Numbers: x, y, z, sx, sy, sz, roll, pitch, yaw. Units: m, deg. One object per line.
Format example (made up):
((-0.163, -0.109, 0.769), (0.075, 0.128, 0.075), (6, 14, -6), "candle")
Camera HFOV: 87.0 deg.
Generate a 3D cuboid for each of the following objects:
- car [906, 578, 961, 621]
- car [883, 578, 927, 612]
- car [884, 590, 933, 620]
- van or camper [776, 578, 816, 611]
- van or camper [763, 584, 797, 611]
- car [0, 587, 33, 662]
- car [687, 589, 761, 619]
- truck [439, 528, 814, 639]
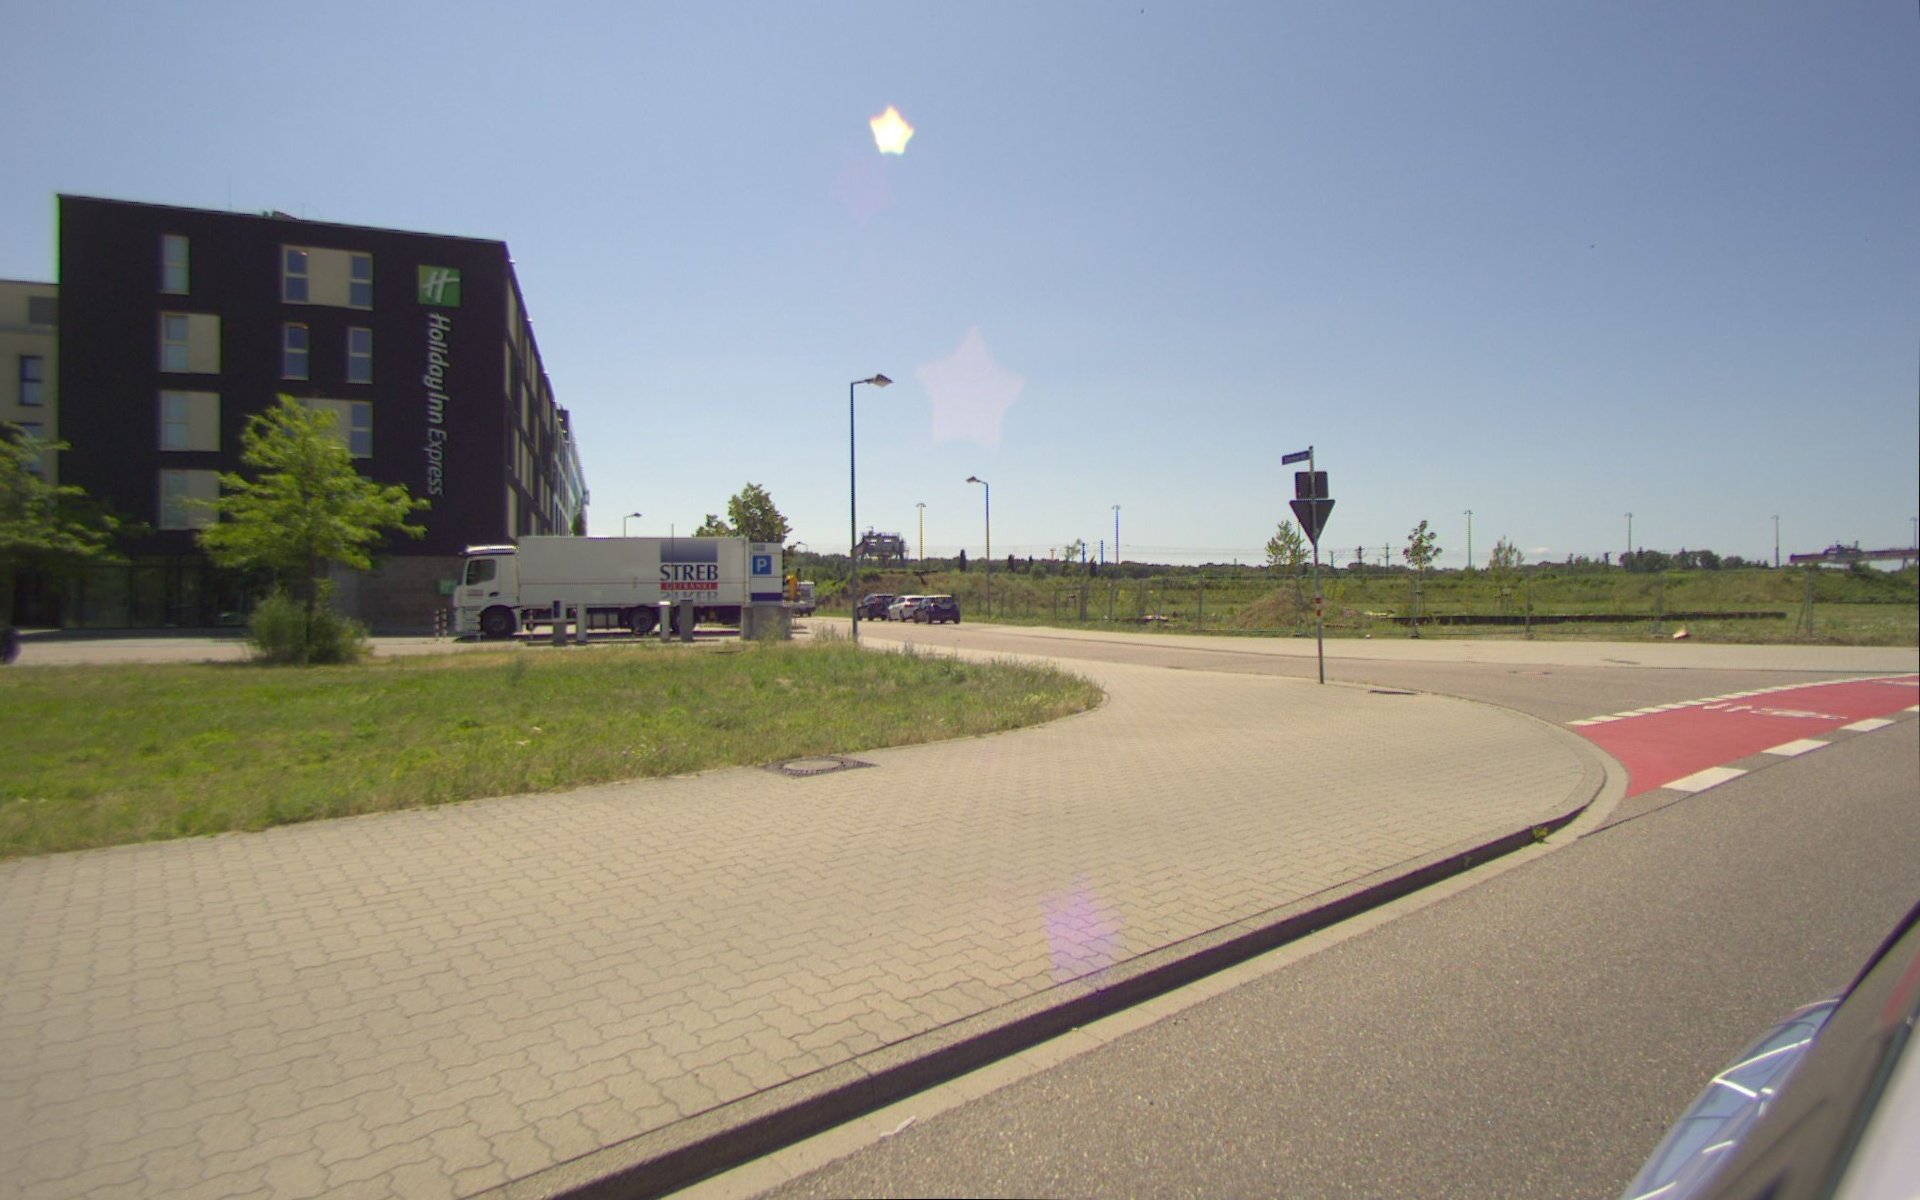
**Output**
((-1.367, -0.026, 50.984), (1.841, 2.039, 3.924), (0, 0, -16), "car")
((-3.575, -0.272, 65.066), (1.841, 2.039, 3.923), (-1, -1, -18), "car")
((-2.882, 0.274, 56.258), (1.712, 1.577, 4.053), (0, 0, -18), "car")
((-14.800, -0.477, 90.951), (2.511, 2.811, 6.439), (0, 0, -18), "van or camper")
((-17.670, -0.245, 99.083), (2.353, 2.567, 5.448), (0, 0, -20), "van or camper")
((-20.768, 0.516, 20.031), (1.989, 1.582, 4.517), (0, 0, -20), "car")
((-12.081, 0.198, 51.857), (3.506, 1.471, 1.699), (0, 0, -20), "car")
((-11.247, -0.606, 35.223), (11.883, 3.504, 3.026), (0, 1, -17), "truck")
